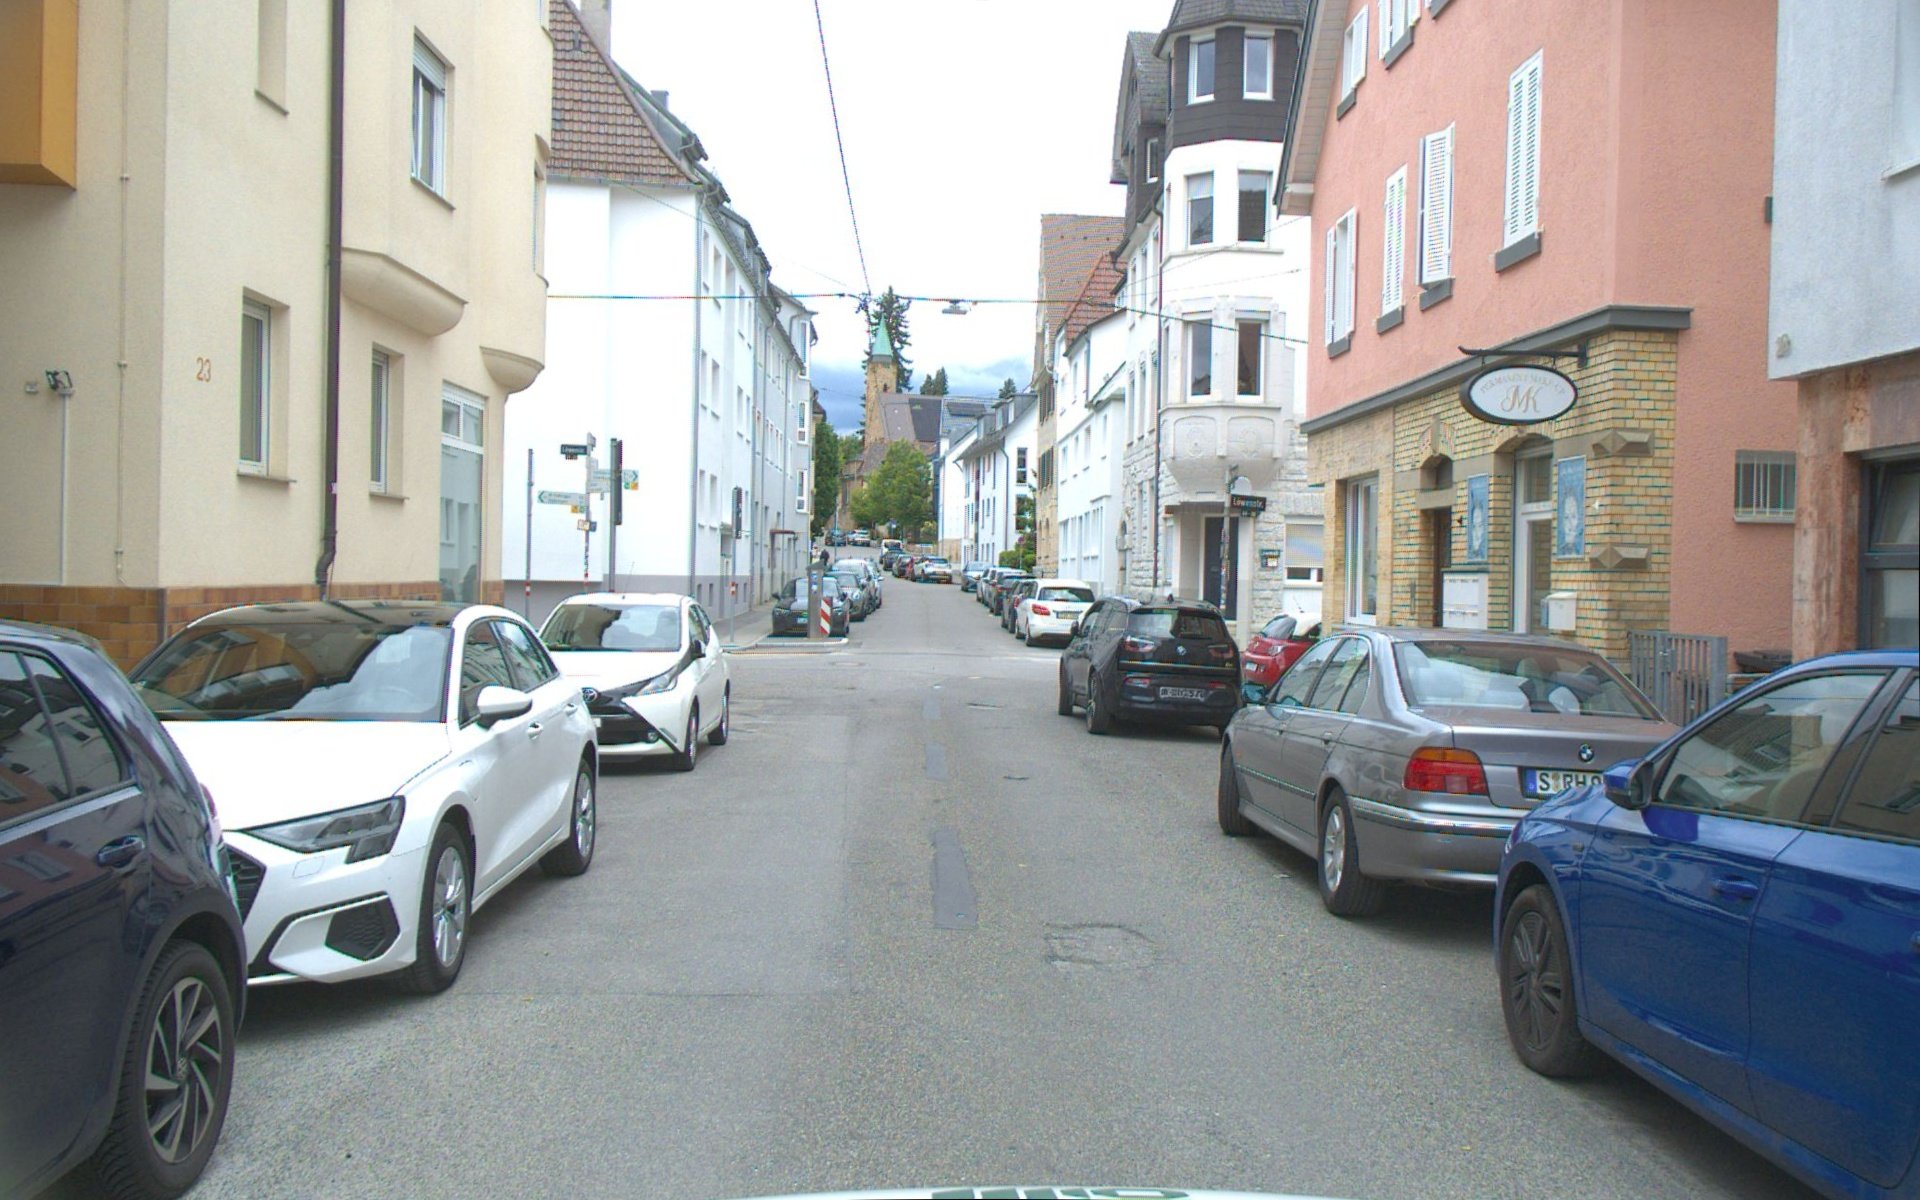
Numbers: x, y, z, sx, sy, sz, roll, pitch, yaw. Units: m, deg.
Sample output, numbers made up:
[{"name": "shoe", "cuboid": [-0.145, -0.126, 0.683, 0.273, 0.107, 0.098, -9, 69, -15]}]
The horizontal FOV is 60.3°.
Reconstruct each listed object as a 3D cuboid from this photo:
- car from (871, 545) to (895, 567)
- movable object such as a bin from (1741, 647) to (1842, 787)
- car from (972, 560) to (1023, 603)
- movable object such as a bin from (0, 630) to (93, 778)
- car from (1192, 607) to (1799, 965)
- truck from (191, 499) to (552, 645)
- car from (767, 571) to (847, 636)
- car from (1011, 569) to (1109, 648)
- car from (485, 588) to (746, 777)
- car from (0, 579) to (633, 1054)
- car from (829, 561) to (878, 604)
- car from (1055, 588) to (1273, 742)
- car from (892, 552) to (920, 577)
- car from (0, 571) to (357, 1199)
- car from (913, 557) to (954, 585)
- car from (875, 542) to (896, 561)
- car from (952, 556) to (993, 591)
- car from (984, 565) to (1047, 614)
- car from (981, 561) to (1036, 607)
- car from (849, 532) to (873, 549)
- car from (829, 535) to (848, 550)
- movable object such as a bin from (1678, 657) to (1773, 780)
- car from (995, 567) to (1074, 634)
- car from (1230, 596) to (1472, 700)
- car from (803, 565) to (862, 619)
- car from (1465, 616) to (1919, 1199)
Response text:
[{"name": "car", "cuboid": [-5.852, -3.359, 125.622, 1.635, 1.504, 3.624, 1, 2, -4]}, {"name": "movable object such as a bin", "cuboid": [6.769, 0.939, 13.480, 0.494, 1.079, 0.604, 0, 1, -6]}, {"name": "car", "cuboid": [1.471, -0.759, 66.515, 1.635, 1.504, 3.624, 3, 2, -4]}, {"name": "movable object such as a bin", "cuboid": [-6.252, 0.689, 11.174, 0.494, 0.940, 0.546, 3, 0, -7]}, {"name": "car", "cuboid": [2.651, 0.826, 9.445, 1.751, 1.441, 4.575, 4, -1, -2]}, {"name": "truck", "cuboid": [-11.157, -0.493, 31.865, 6.151, 2.596, 2.313, 1, -1, -9]}, {"name": "car", "cuboid": [-3.668, 0.048, 40.265, 1.784, 1.415, 4.296, 0, 2, -3]}, {"name": "car", "cuboid": [2.360, 0.157, 40.008, 1.784, 1.626, 4.025, 3, 2, -4]}, {"name": "car", "cuboid": [-2.990, 0.669, 15.088, 1.633, 1.459, 3.815, -2, 0, -2]}, {"name": "car", "cuboid": [-2.721, 0.701, 7.395, 1.716, 1.457, 4.368, -2, 0, -1]}, {"name": "car", "cuboid": [-3.803, -0.653, 59.457, 1.696, 1.473, 3.717, 0, 2, -3]}, {"name": "car", "cuboid": [2.314, 0.685, 19.795, 1.782, 1.570, 4.024, 3, 0, -4]}, {"name": "car", "cuboid": [-3.553, -2.324, 108.822, 1.635, 1.504, 3.624, 1, 2, -4]}, {"name": "car", "cuboid": [-2.555, 0.709, 2.460, 1.716, 1.481, 4.369, -2, 0, -1]}, {"name": "car", "cuboid": [-1.597, -1.755, 97.781, 1.752, 1.504, 3.617, 1, 3, -11]}, {"name": "car", "cuboid": [-6.182, -4.054, 137.358, 1.635, 1.504, 3.624, 1, 2, -4]}, {"name": "car", "cuboid": [0.590, -1.302, 79.432, 1.635, 1.504, 3.624, 3, 2, -4]}, {"name": "car", "cuboid": [1.826, -0.396, 55.616, 1.635, 1.409, 4.025, 3, 2, -4]}, {"name": "car", "cuboid": [1.770, -0.637, 61.751, 1.635, 1.504, 3.624, 3, 2, -4]}, {"name": "car", "cuboid": [-10.517, -6.333, 176.058, 2.142, 1.722, 3.619, 1, 2, -9]}, {"name": "car", "cuboid": [-12.778, -6.054, 173.330, 1.637, 1.504, 3.619, 1, 3, -9]}, {"name": "movable object such as a bin", "cuboid": [6.213, 0.953, 13.438, 0.494, 0.940, 0.546, 0, 1, -6]}, {"name": "car", "cuboid": [1.985, -0.028, 45.134, 1.635, 1.559, 4.025, 3, 2, -4]}, {"name": "car", "cuboid": [6.549, 0.798, 27.879, 3.547, 1.505, 1.670, 3, 1, -9]}, {"name": "car", "cuboid": [-3.786, -0.274, 49.599, 1.696, 1.515, 3.717, 0, 2, -3]}, {"name": "car", "cuboid": [2.779, 0.806, 4.126, 1.716, 1.457, 3.927, 2, -1, -1]}]
